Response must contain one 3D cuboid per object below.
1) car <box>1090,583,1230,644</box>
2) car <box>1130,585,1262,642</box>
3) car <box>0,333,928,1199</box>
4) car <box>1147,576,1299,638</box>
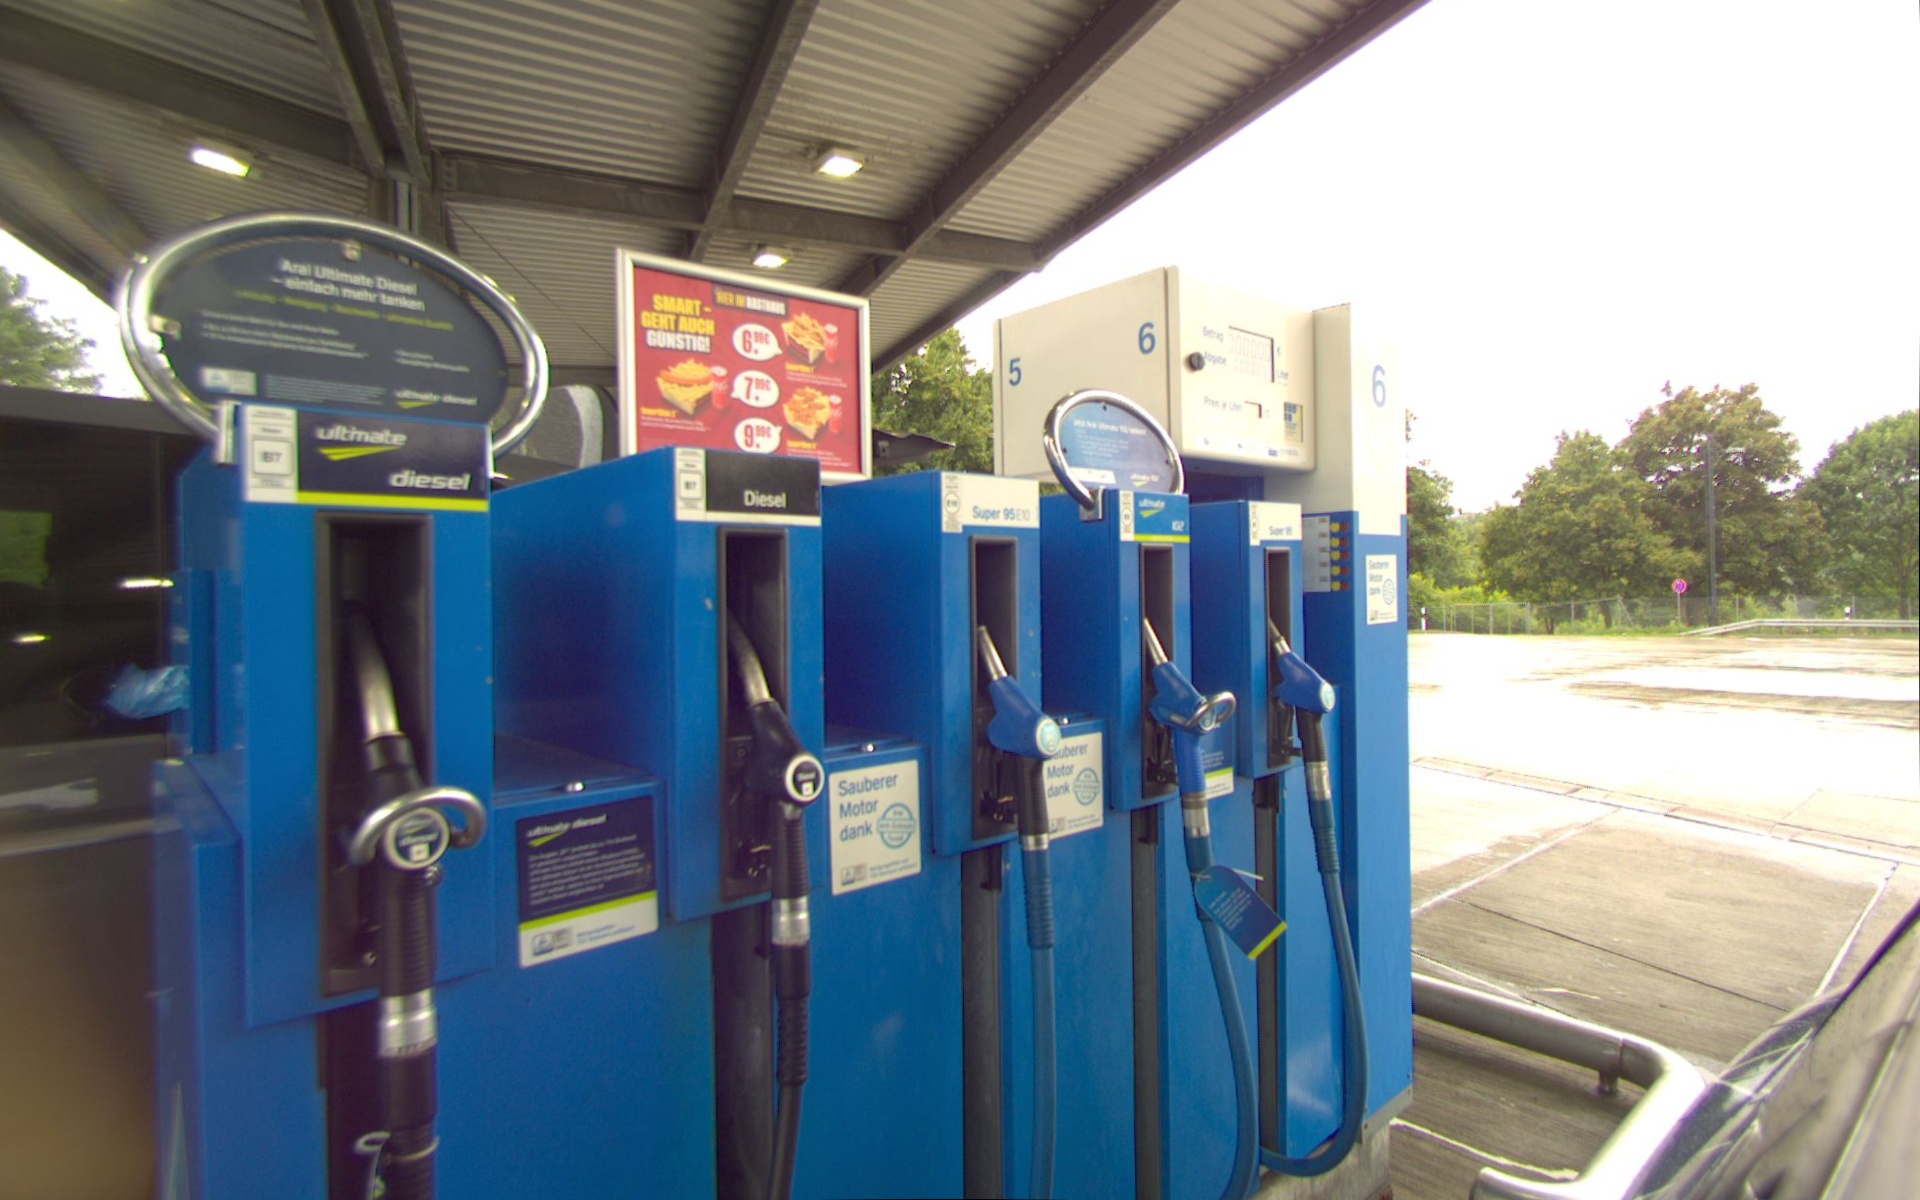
[{"bbox_3d":[5.875,0.373,29.731,3.941,1.680,1.593,1,0,14],"label":"car"},{"bbox_3d":[7.430,0.385,31.922,3.941,1.680,1.593,1,0,14],"label":"car"},{"bbox_3d":[-2.598,0.502,1.819,5.050,1.821,1.864,-1,0,-41],"label":"car"},{"bbox_3d":[8.892,0.206,34.504,4.817,1.974,2.306,1,1,14],"label":"car"}]
